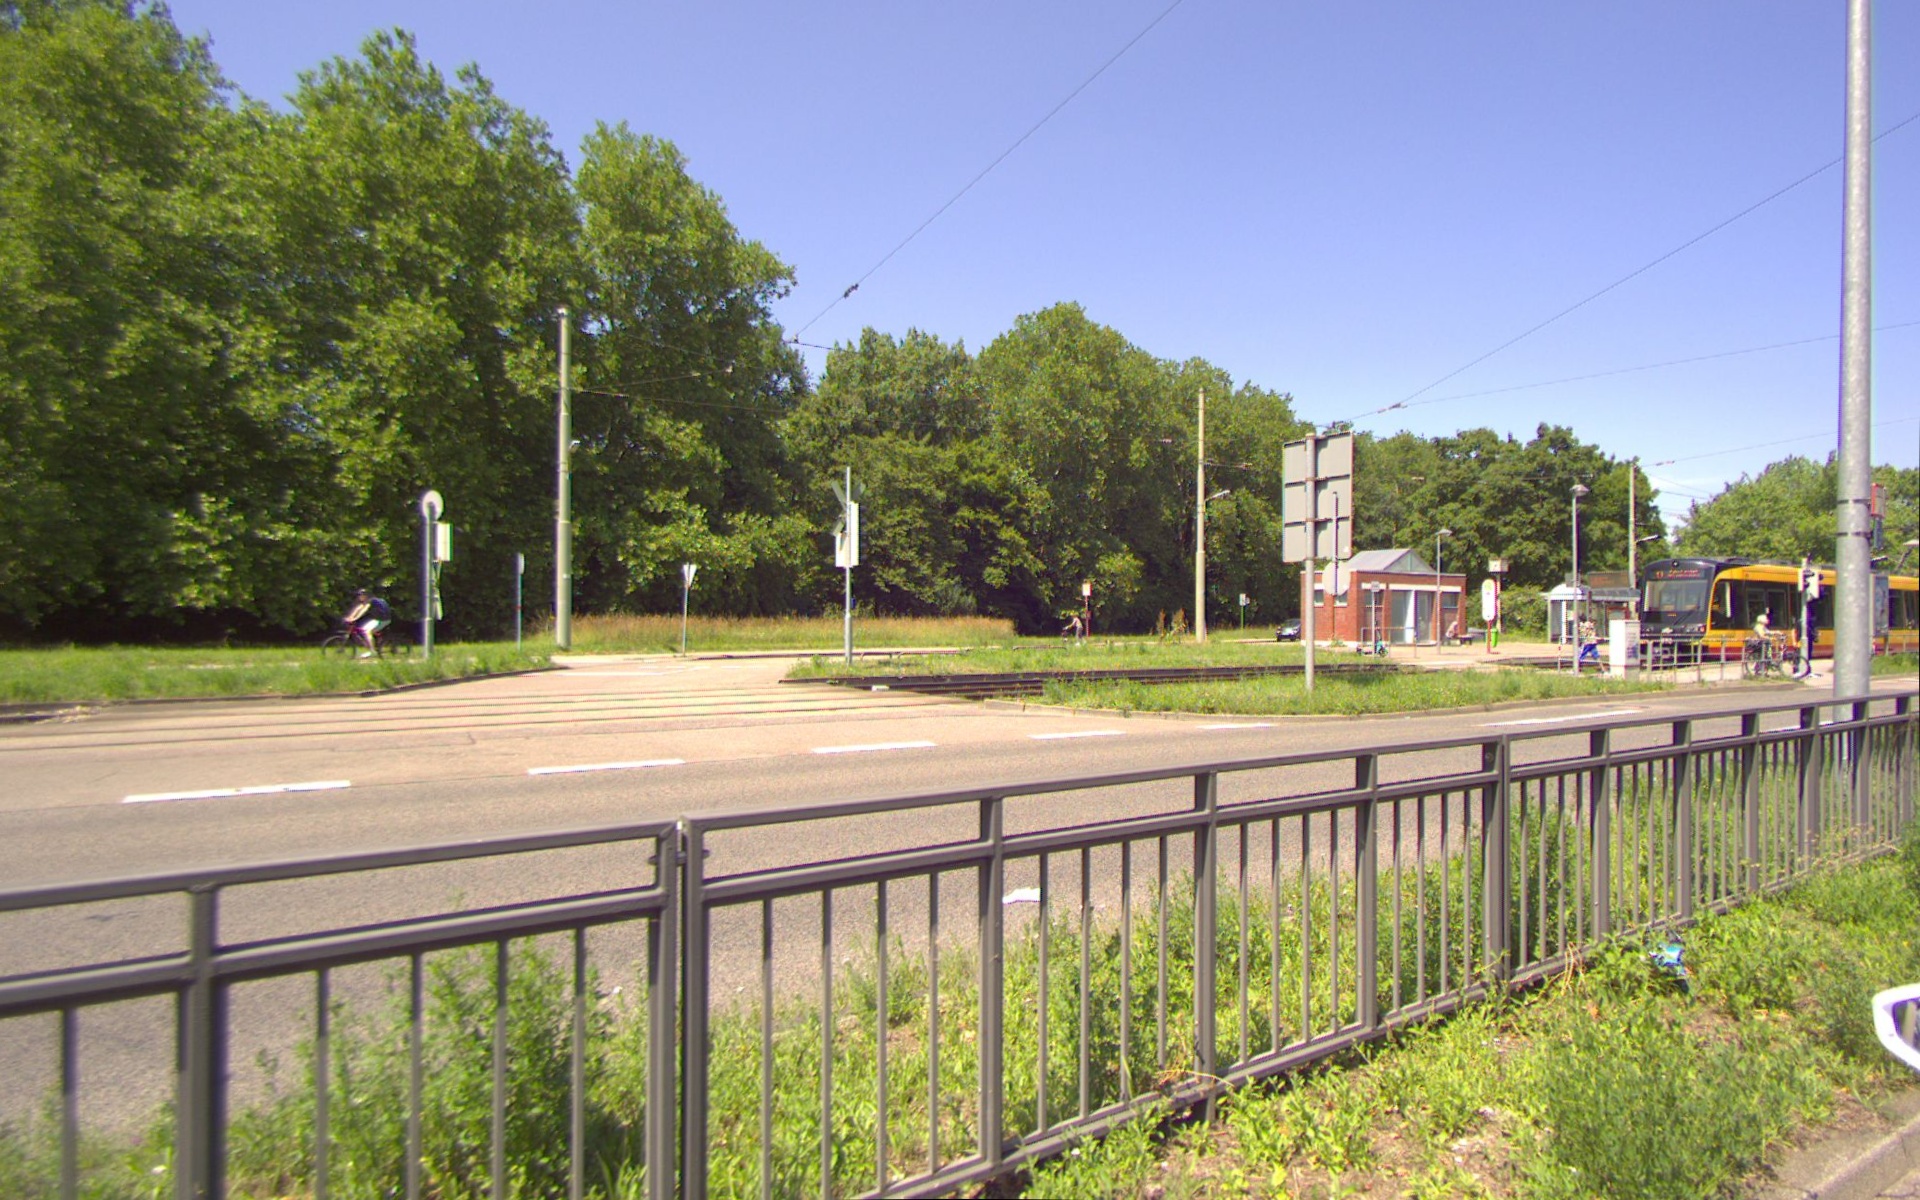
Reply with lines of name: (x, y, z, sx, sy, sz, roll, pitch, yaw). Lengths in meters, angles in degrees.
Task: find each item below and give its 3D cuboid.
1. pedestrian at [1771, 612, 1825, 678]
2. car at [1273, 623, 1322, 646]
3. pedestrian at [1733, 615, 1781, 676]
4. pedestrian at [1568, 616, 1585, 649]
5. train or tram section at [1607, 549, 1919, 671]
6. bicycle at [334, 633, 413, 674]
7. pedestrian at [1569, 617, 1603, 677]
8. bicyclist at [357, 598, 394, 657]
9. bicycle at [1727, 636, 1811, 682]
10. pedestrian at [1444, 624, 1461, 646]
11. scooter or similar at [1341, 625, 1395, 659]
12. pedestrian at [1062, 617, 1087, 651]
pedestrian: (23.798, 1.268, 28.541, 0.691, 1.820, 0.961, 1, 0, -3)
car: (23.103, 2.337, 68.675, 1.968, 1.486, 3.984, 0, -1, 37)
pedestrian: (22.079, 1.243, 27.824, 0.696, 1.650, 0.816, 1, 0, -27)
pedestrian: (27.612, 1.469, 44.984, 0.520, 1.455, 0.458, 1, 0, -34)
train or tram section: (37.542, 0.583, 41.861, 37.110, 3.717, 2.772, 1, -1, -33)
bicycle: (-13.760, 1.239, 23.573, 1.552, 0.913, 0.504, 1, -1, -38)
pedestrian: (16.524, 1.220, 26.531, 0.527, 1.561, 0.870, 0, 0, 13)
bicyclist: (-13.719, 0.635, 23.566, 0.674, 1.353, 0.504, 1, 0, -38)
bicycle: (22.109, 1.584, 27.476, 0.239, 1.172, 1.856, 1, -1, -26)
pedestrian: (22.844, 1.621, 46.591, 0.516, 1.032, 0.479, 1, 0, -30)
scooter or similar: (14.004, 1.435, 34.518, 1.639, 1.142, 0.613, 1, 0, 12)
pedestrian: (5.892, 1.753, 51.651, 1.245, 1.724, 0.517, 1, 0, 13)
